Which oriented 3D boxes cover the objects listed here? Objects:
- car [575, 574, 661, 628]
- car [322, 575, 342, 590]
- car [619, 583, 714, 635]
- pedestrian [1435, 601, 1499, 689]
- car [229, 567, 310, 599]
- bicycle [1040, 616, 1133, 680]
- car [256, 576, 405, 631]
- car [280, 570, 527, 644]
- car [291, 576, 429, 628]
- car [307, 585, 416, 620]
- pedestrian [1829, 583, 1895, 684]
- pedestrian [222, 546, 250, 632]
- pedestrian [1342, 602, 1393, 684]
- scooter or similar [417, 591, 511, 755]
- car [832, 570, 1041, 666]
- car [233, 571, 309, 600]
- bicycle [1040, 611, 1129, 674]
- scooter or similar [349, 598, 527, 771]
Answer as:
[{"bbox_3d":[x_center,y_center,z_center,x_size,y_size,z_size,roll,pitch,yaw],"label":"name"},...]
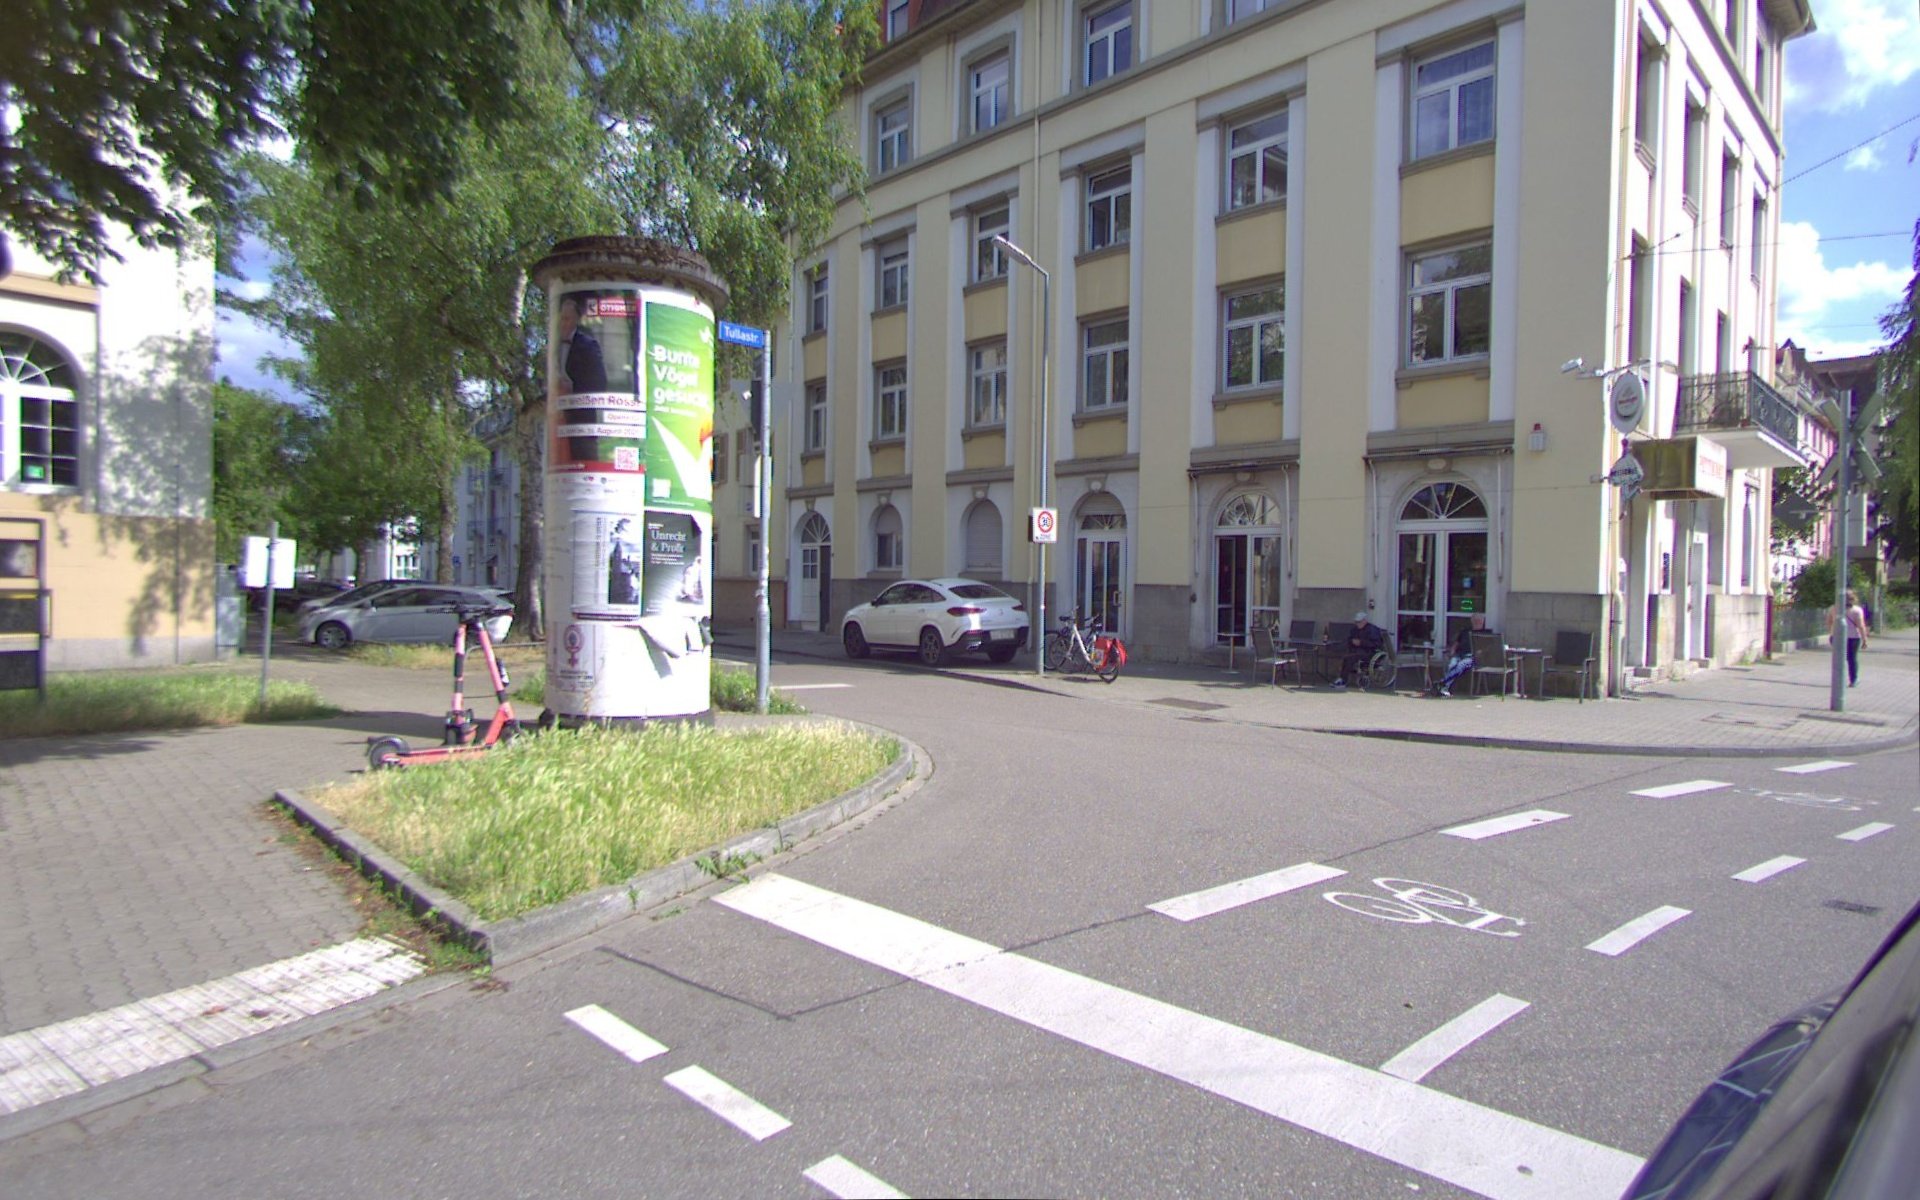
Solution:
[{"bbox_3d":[-11.971,0.016,35.324,1.705,1.760,3.647,2,0,-38],"label":"car"},{"bbox_3d":[-64.420,-1.833,103.773,1.466,1.485,3.295,0,1,-38],"label":"car"},{"bbox_3d":[-9.360,0.235,32.115,1.594,1.477,3.591,-3,3,-39],"label":"car"},{"bbox_3d":[8.014,0.684,15.973,0.534,1.284,1.283,0,2,44],"label":"pedestrian"},{"bbox_3d":[-31.878,-0.774,46.815,2.935,1.434,1.233,0,1,-26],"label":"car"},{"bbox_3d":[2.169,0.802,17.534,0.574,0.980,1.651,-2,2,-41],"label":"bicycle"},{"bbox_3d":[-17.668,0.088,28.535,3.200,1.474,1.595,1,1,-7],"label":"car"},{"bbox_3d":[-12.036,0.138,22.148,4.449,1.504,1.625,1,1,-11],"label":"car"},{"bbox_3d":[-17.973,0.037,30.431,3.200,1.474,1.596,1,1,-8],"label":"car"},{"bbox_3d":[-20.382,0.086,34.542,2.934,1.143,1.286,1,1,-12],"label":"car"},{"bbox_3d":[15.678,0.567,17.607,0.670,1.668,0.754,4,1,34],"label":"pedestrian"},{"bbox_3d":[-17.433,-0.264,24.373,0.493,2.039,0.627,1,1,-40],"label":"pedestrian"},{"bbox_3d":[6.657,0.691,16.537,0.534,1.284,0.650,3,2,44],"label":"pedestrian"},{"bbox_3d":[-4.053,0.558,8.321,0.428,1.246,1.028,1,1,-11],"label":"scooter or similar"},{"bbox_3d":[-0.627,0.282,21.061,1.878,1.755,4.771,0,1,-38],"label":"car"},{"bbox_3d":[-40.729,-0.869,59.870,3.437,1.685,1.415,1,1,-13],"label":"car"},{"bbox_3d":[2.230,0.740,18.287,0.574,0.980,1.651,-3,4,-40],"label":"bicycle"},{"bbox_3d":[-3.833,0.596,7.483,1.138,1.204,0.307,1,1,-25],"label":"scooter or similar"}]
